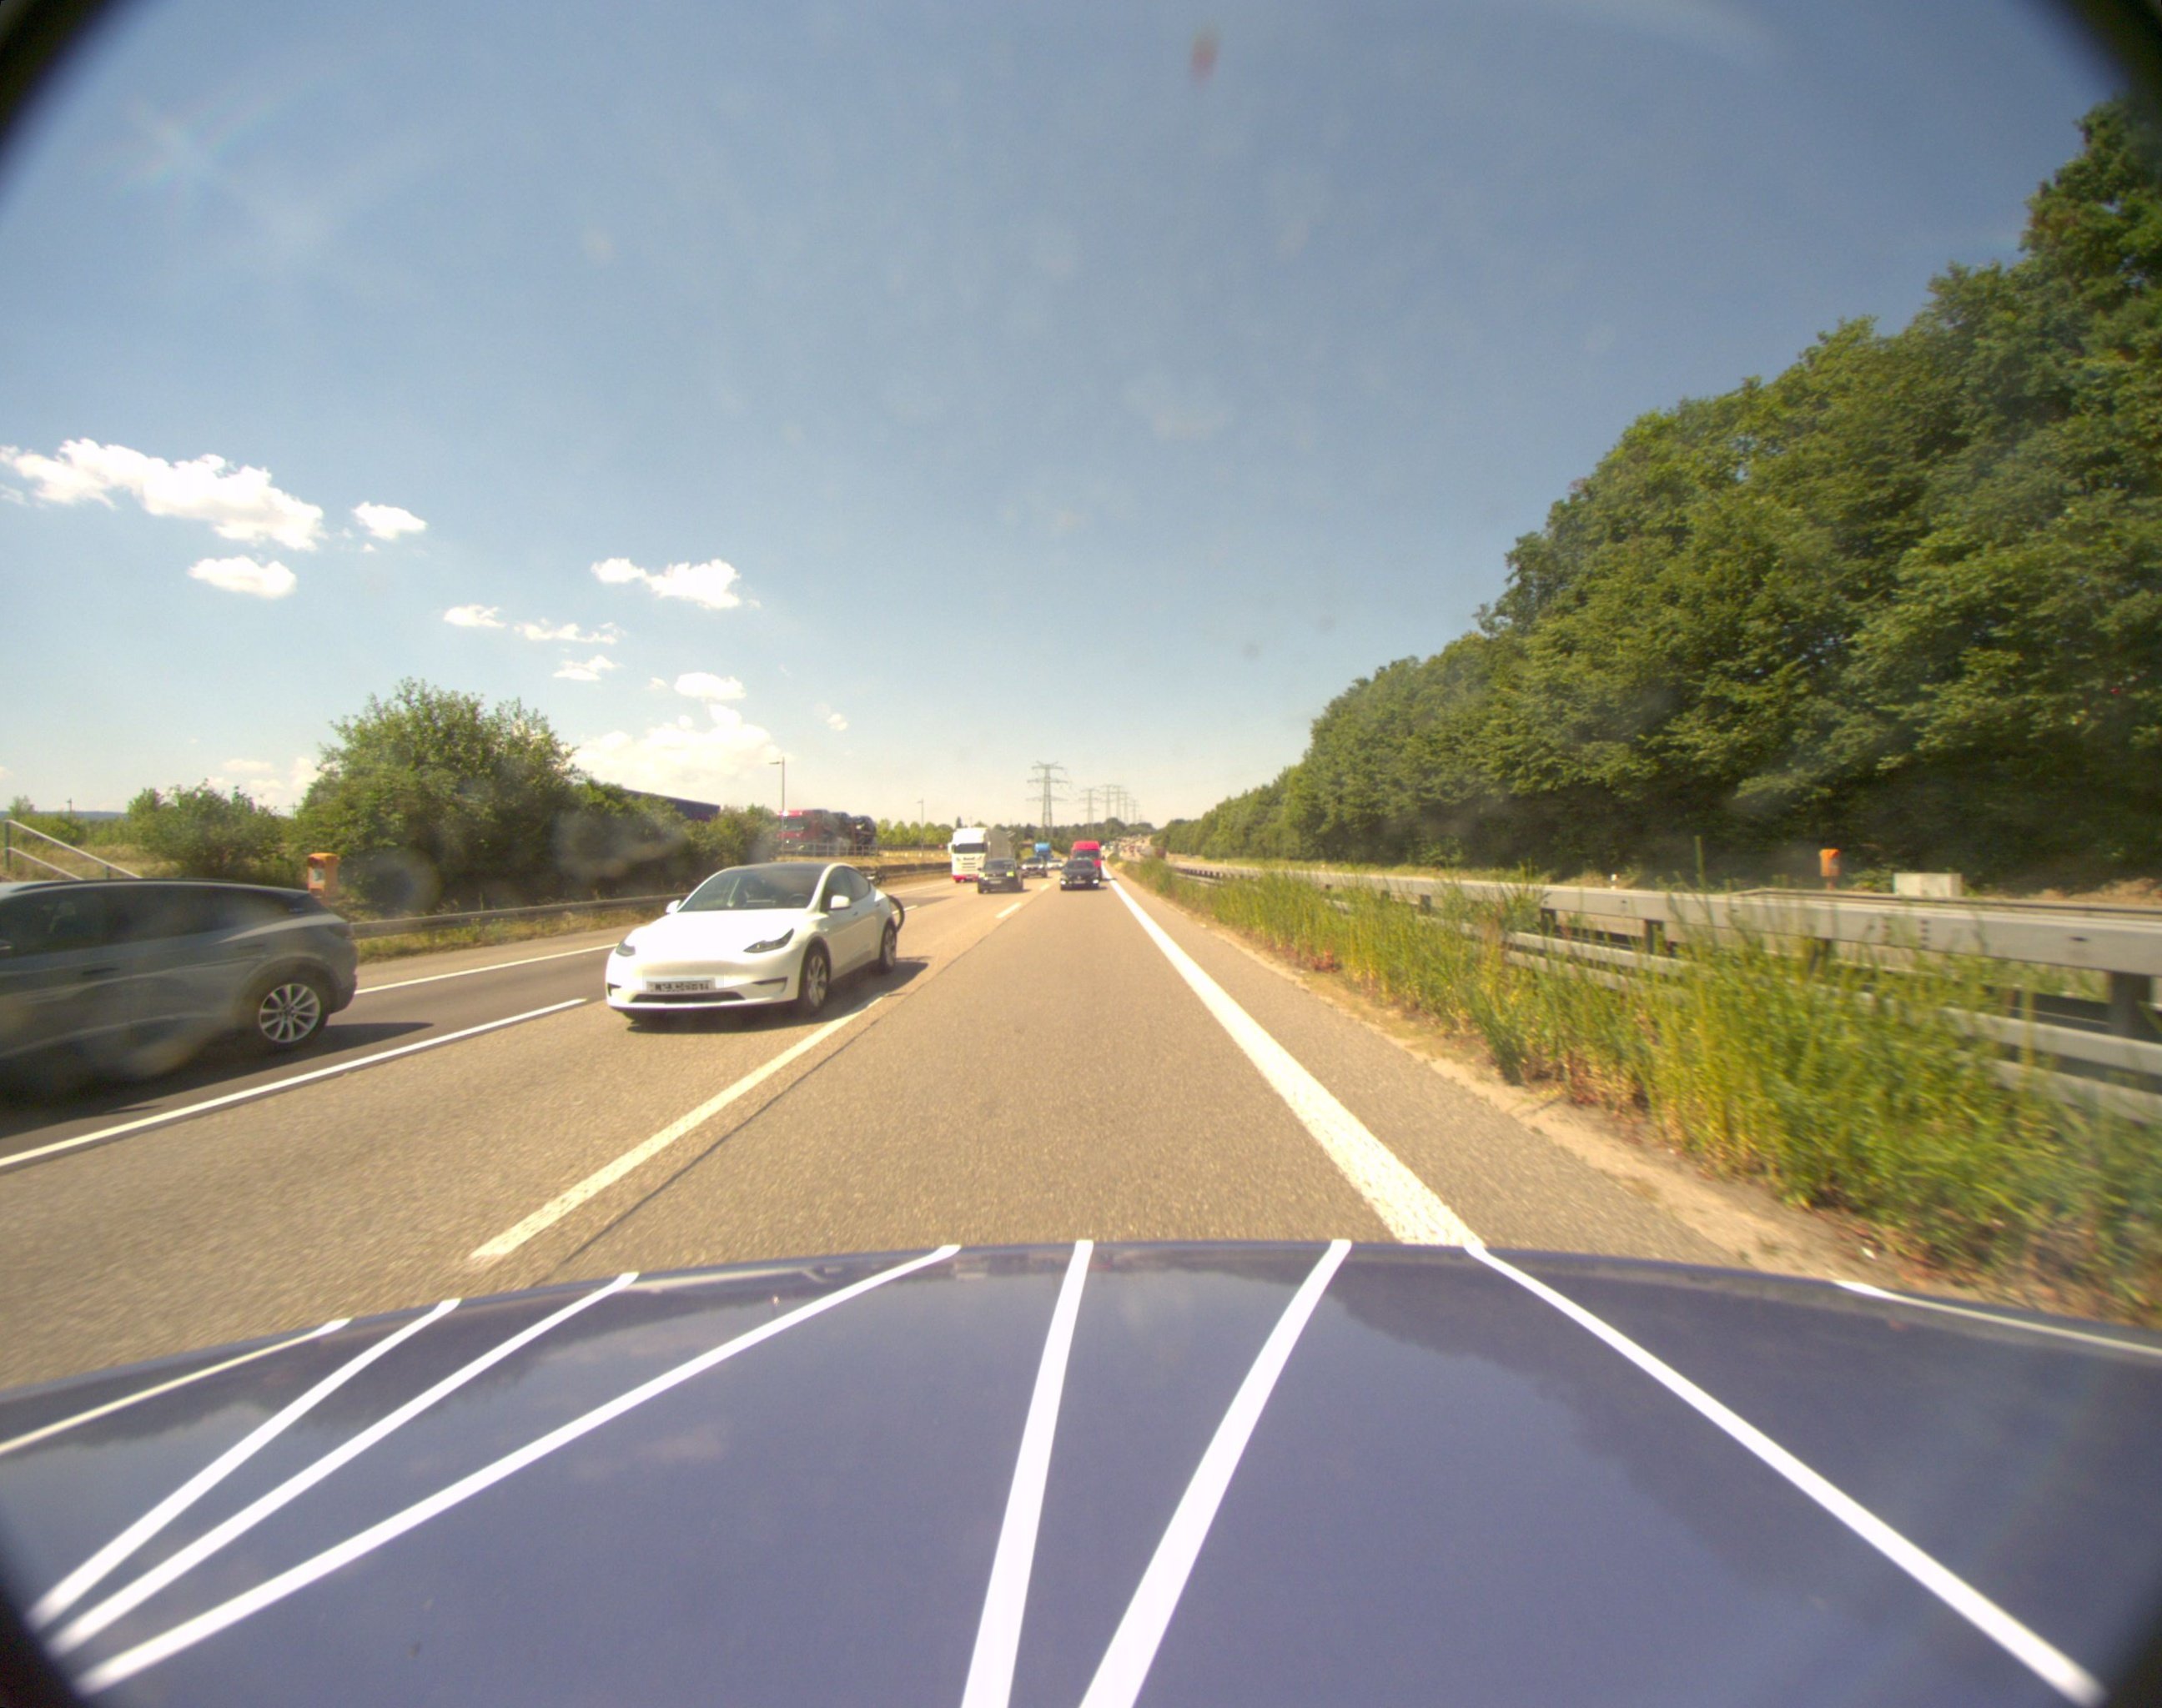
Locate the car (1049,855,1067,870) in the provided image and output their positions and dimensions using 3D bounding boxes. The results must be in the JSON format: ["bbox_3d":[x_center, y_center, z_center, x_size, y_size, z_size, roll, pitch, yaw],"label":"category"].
[{"bbox_3d":[-2.714,1.012,89.946,1.878,1.591,3.688,-1,1,3],"label":"car"}]

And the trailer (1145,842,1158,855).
[{"bbox_3d":[24.477,-2.021,264.521,3.462,4.255,7.968,-3,1,0],"label":"trailer"}]

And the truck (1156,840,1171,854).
[{"bbox_3d":[22.421,-2.001,207.152,2.789,3.717,11.156,-3,1,1],"label":"truck"}]

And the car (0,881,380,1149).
[{"bbox_3d":[-8.040,1.153,5.325,1.873,1.627,4.585,-2,1,1],"label":"car"}]

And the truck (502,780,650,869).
[{"bbox_3d":[-25.512,-1.442,38.877,3.060,4.060,6.396,-3,1,0],"label":"truck"}]

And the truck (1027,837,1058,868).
[{"bbox_3d":[-6.481,-0.410,131.668,3.797,4.971,14.924,-3,1,3],"label":"truck"}]

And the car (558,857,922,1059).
[{"bbox_3d":[-3.644,0.948,9.625,1.955,1.627,5.599,-3,1,1],"label":"car"}]

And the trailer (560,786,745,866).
[{"bbox_3d":[-25.512,-1.560,46.746,3.060,4.060,14.255,-3,1,0],"label":"trailer"}]

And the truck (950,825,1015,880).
[{"bbox_3d":[-7.742,-0.207,61.719,3.076,3.885,12.503,-3,1,2],"label":"truck"}]

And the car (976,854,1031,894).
[{"bbox_3d":[-3.638,0.891,36.230,1.955,1.637,4.047,-3,1,3],"label":"car"}]

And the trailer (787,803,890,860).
[{"bbox_3d":[-20.684,-1.870,66.851,2.612,4.233,18.419,-3,1,1],"label":"trailer"}]

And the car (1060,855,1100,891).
[{"bbox_3d":[-0.008,0.874,36.659,1.735,1.536,3.750,0,1,3],"label":"car"}]

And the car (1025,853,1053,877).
[{"bbox_3d":[-3.287,0.843,60.104,1.749,1.691,4.088,-1,1,3],"label":"car"}]

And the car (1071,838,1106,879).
[{"bbox_3d":[0.554,0.261,50.436,2.100,2.598,4.496,-1,1,3],"label":"car"}]

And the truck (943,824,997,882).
[{"bbox_3d":[-7.905,-0.119,54.552,3.076,3.885,3.847,-3,1,1],"label":"truck"}]

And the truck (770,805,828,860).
[{"bbox_3d":[-20.886,-1.556,56.505,2.608,3.805,3.999,-3,1,1],"label":"truck"}]
